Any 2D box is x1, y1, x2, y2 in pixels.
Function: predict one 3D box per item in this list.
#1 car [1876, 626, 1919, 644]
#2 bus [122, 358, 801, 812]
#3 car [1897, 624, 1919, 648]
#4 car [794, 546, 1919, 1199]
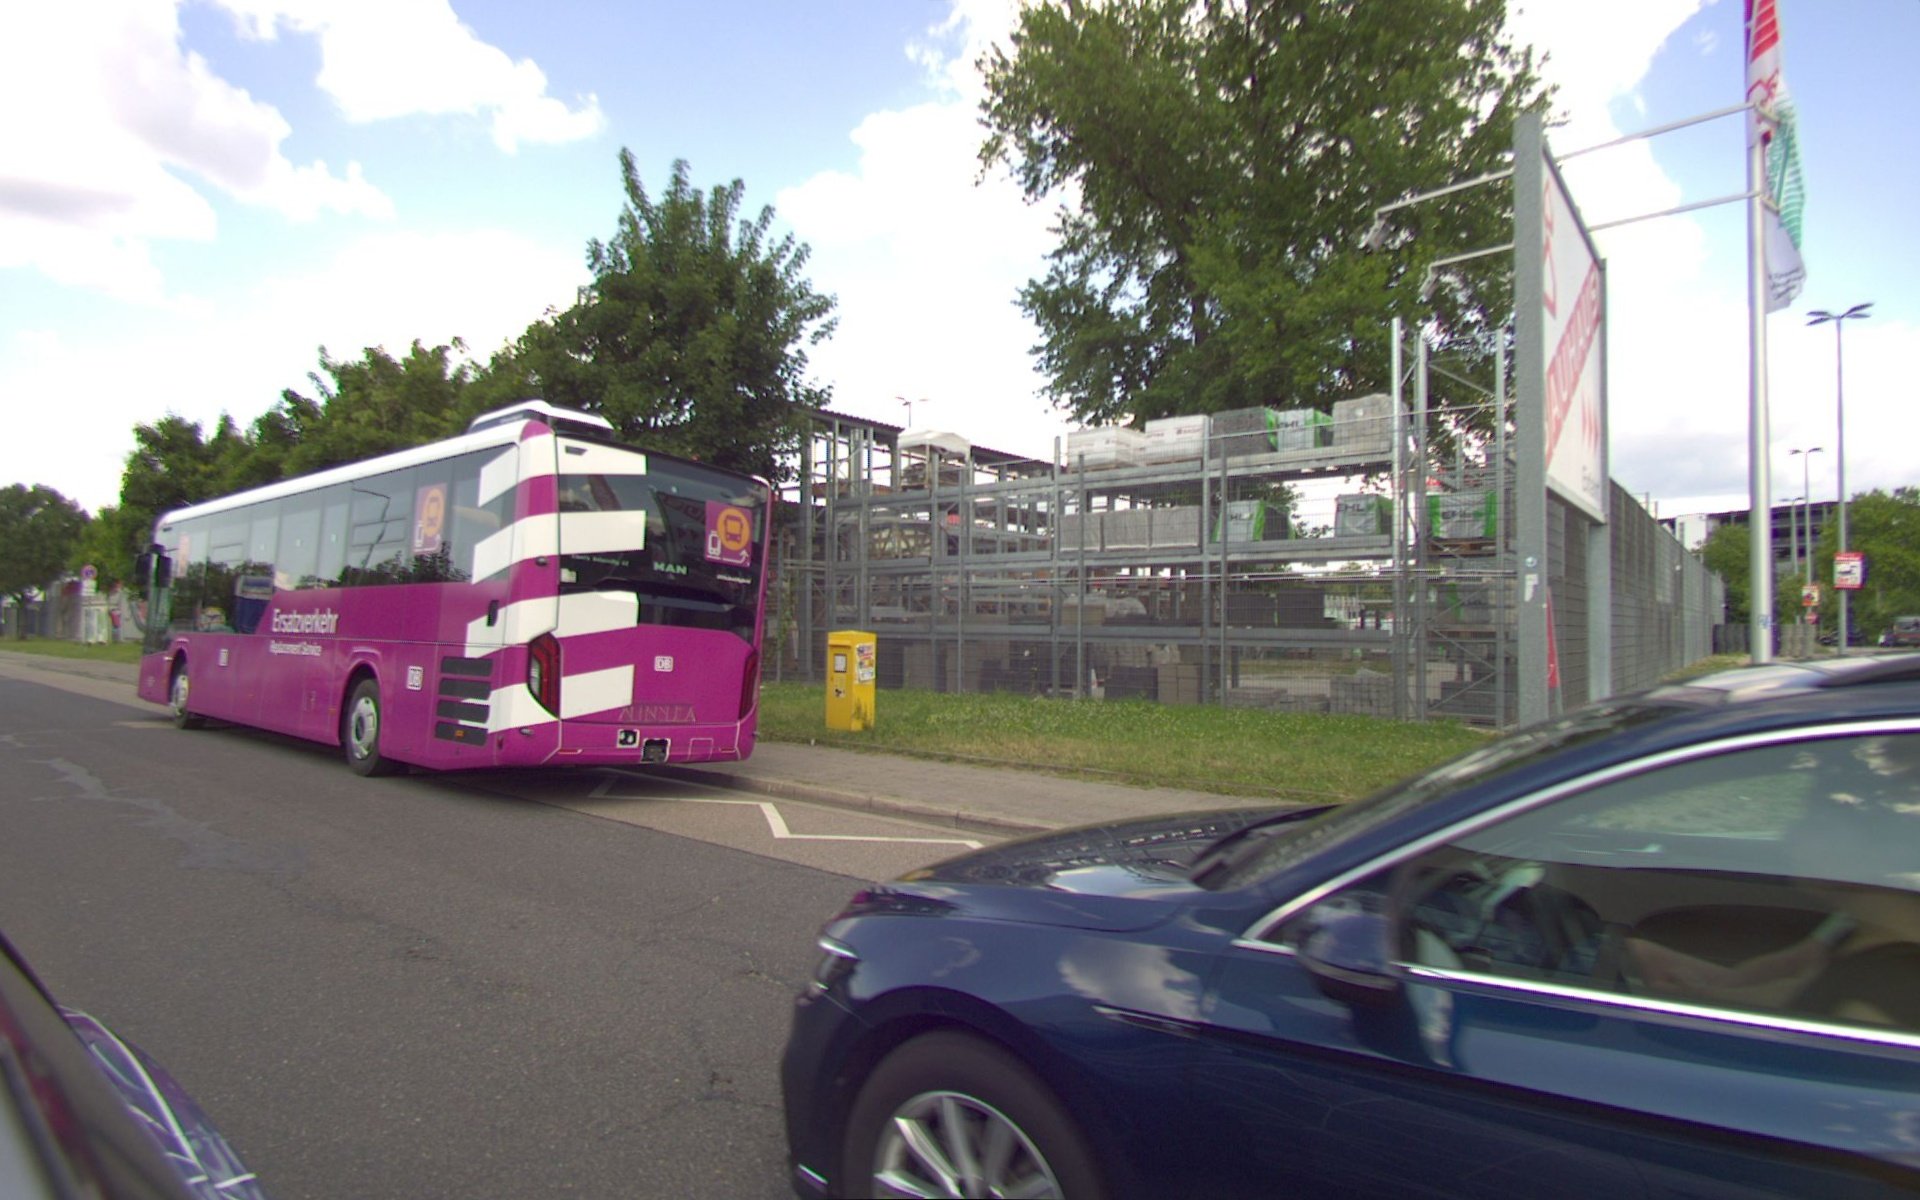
[{"bbox_3d":[80.303,2.927,85.584,4.057,1.468,1.876,0,-1,-3],"label":"car"},{"bbox_3d":[-7.457,0.059,12.975,13.209,3.449,2.635,-1,-5,41],"label":"bus"},{"bbox_3d":[68.543,2.560,72.479,1.971,1.640,4.062,-1,-2,41],"label":"car"},{"bbox_3d":[1.883,0.706,1.472,4.381,1.470,1.778,-1,-3,40],"label":"car"}]
